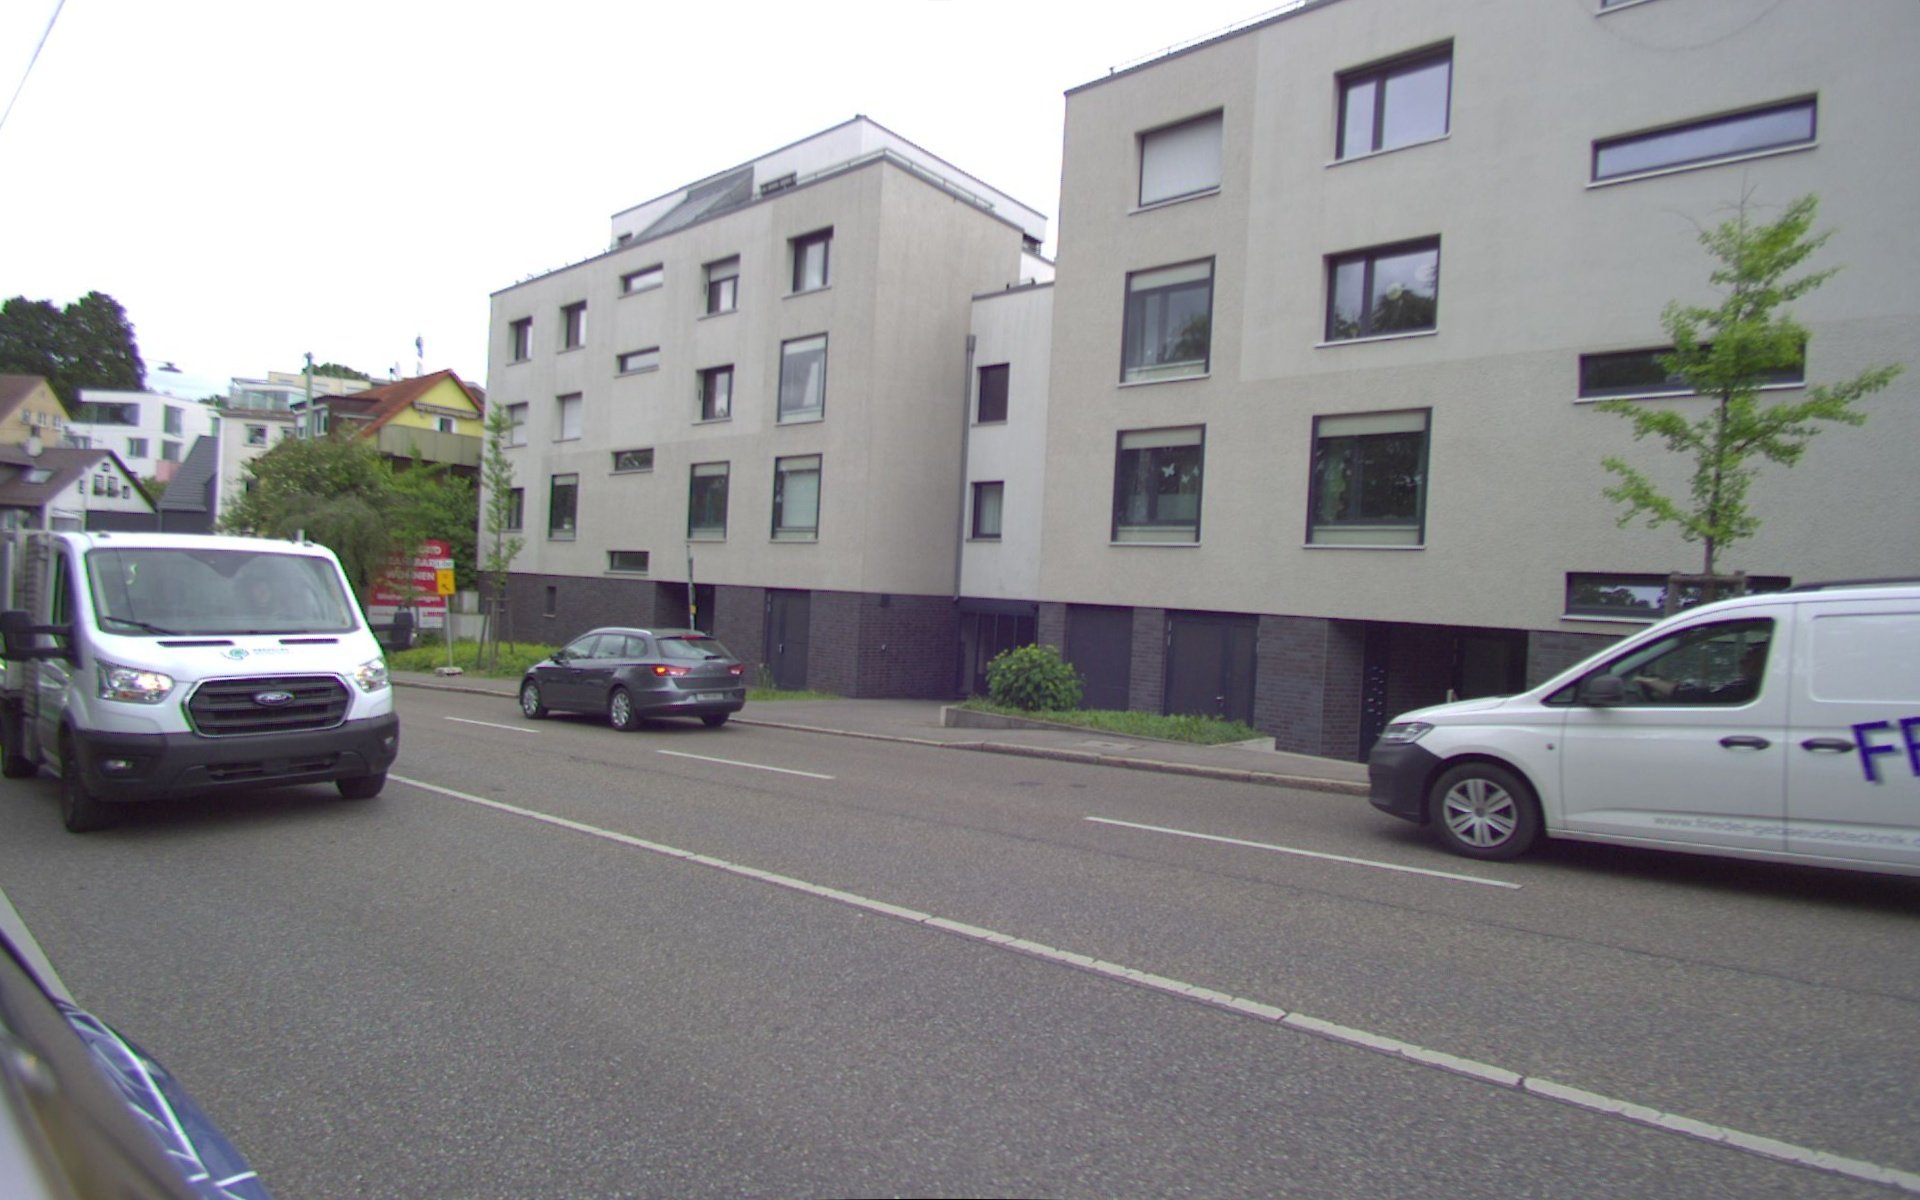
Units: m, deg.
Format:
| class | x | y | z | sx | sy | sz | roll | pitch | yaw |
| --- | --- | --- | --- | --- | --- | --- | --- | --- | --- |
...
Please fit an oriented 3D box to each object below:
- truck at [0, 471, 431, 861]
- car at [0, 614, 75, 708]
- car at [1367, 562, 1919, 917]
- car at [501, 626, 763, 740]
| class | x | y | z | sx | sy | sz | roll | pitch | yaw |
| --- | --- | --- | --- | --- | --- | --- | --- | --- | --- |
| truck | -7.094 | 0.452 | 8.907 | 6.326 | 2.339 | 2.054 | -1 | -1 | 40 |
| car | -18.017 | 1.076 | 18.661 | 4.397 | 1.492 | 1.892 | 0 | 2 | 40 |
| car | 5.200 | 0.751 | 6.037 | 4.864 | 1.802 | 1.714 | -1 | -3 | 41 |
| car | -5.047 | 1.159 | 15.254 | 4.421 | 1.475 | 1.714 | -1 | -3 | 41 |
